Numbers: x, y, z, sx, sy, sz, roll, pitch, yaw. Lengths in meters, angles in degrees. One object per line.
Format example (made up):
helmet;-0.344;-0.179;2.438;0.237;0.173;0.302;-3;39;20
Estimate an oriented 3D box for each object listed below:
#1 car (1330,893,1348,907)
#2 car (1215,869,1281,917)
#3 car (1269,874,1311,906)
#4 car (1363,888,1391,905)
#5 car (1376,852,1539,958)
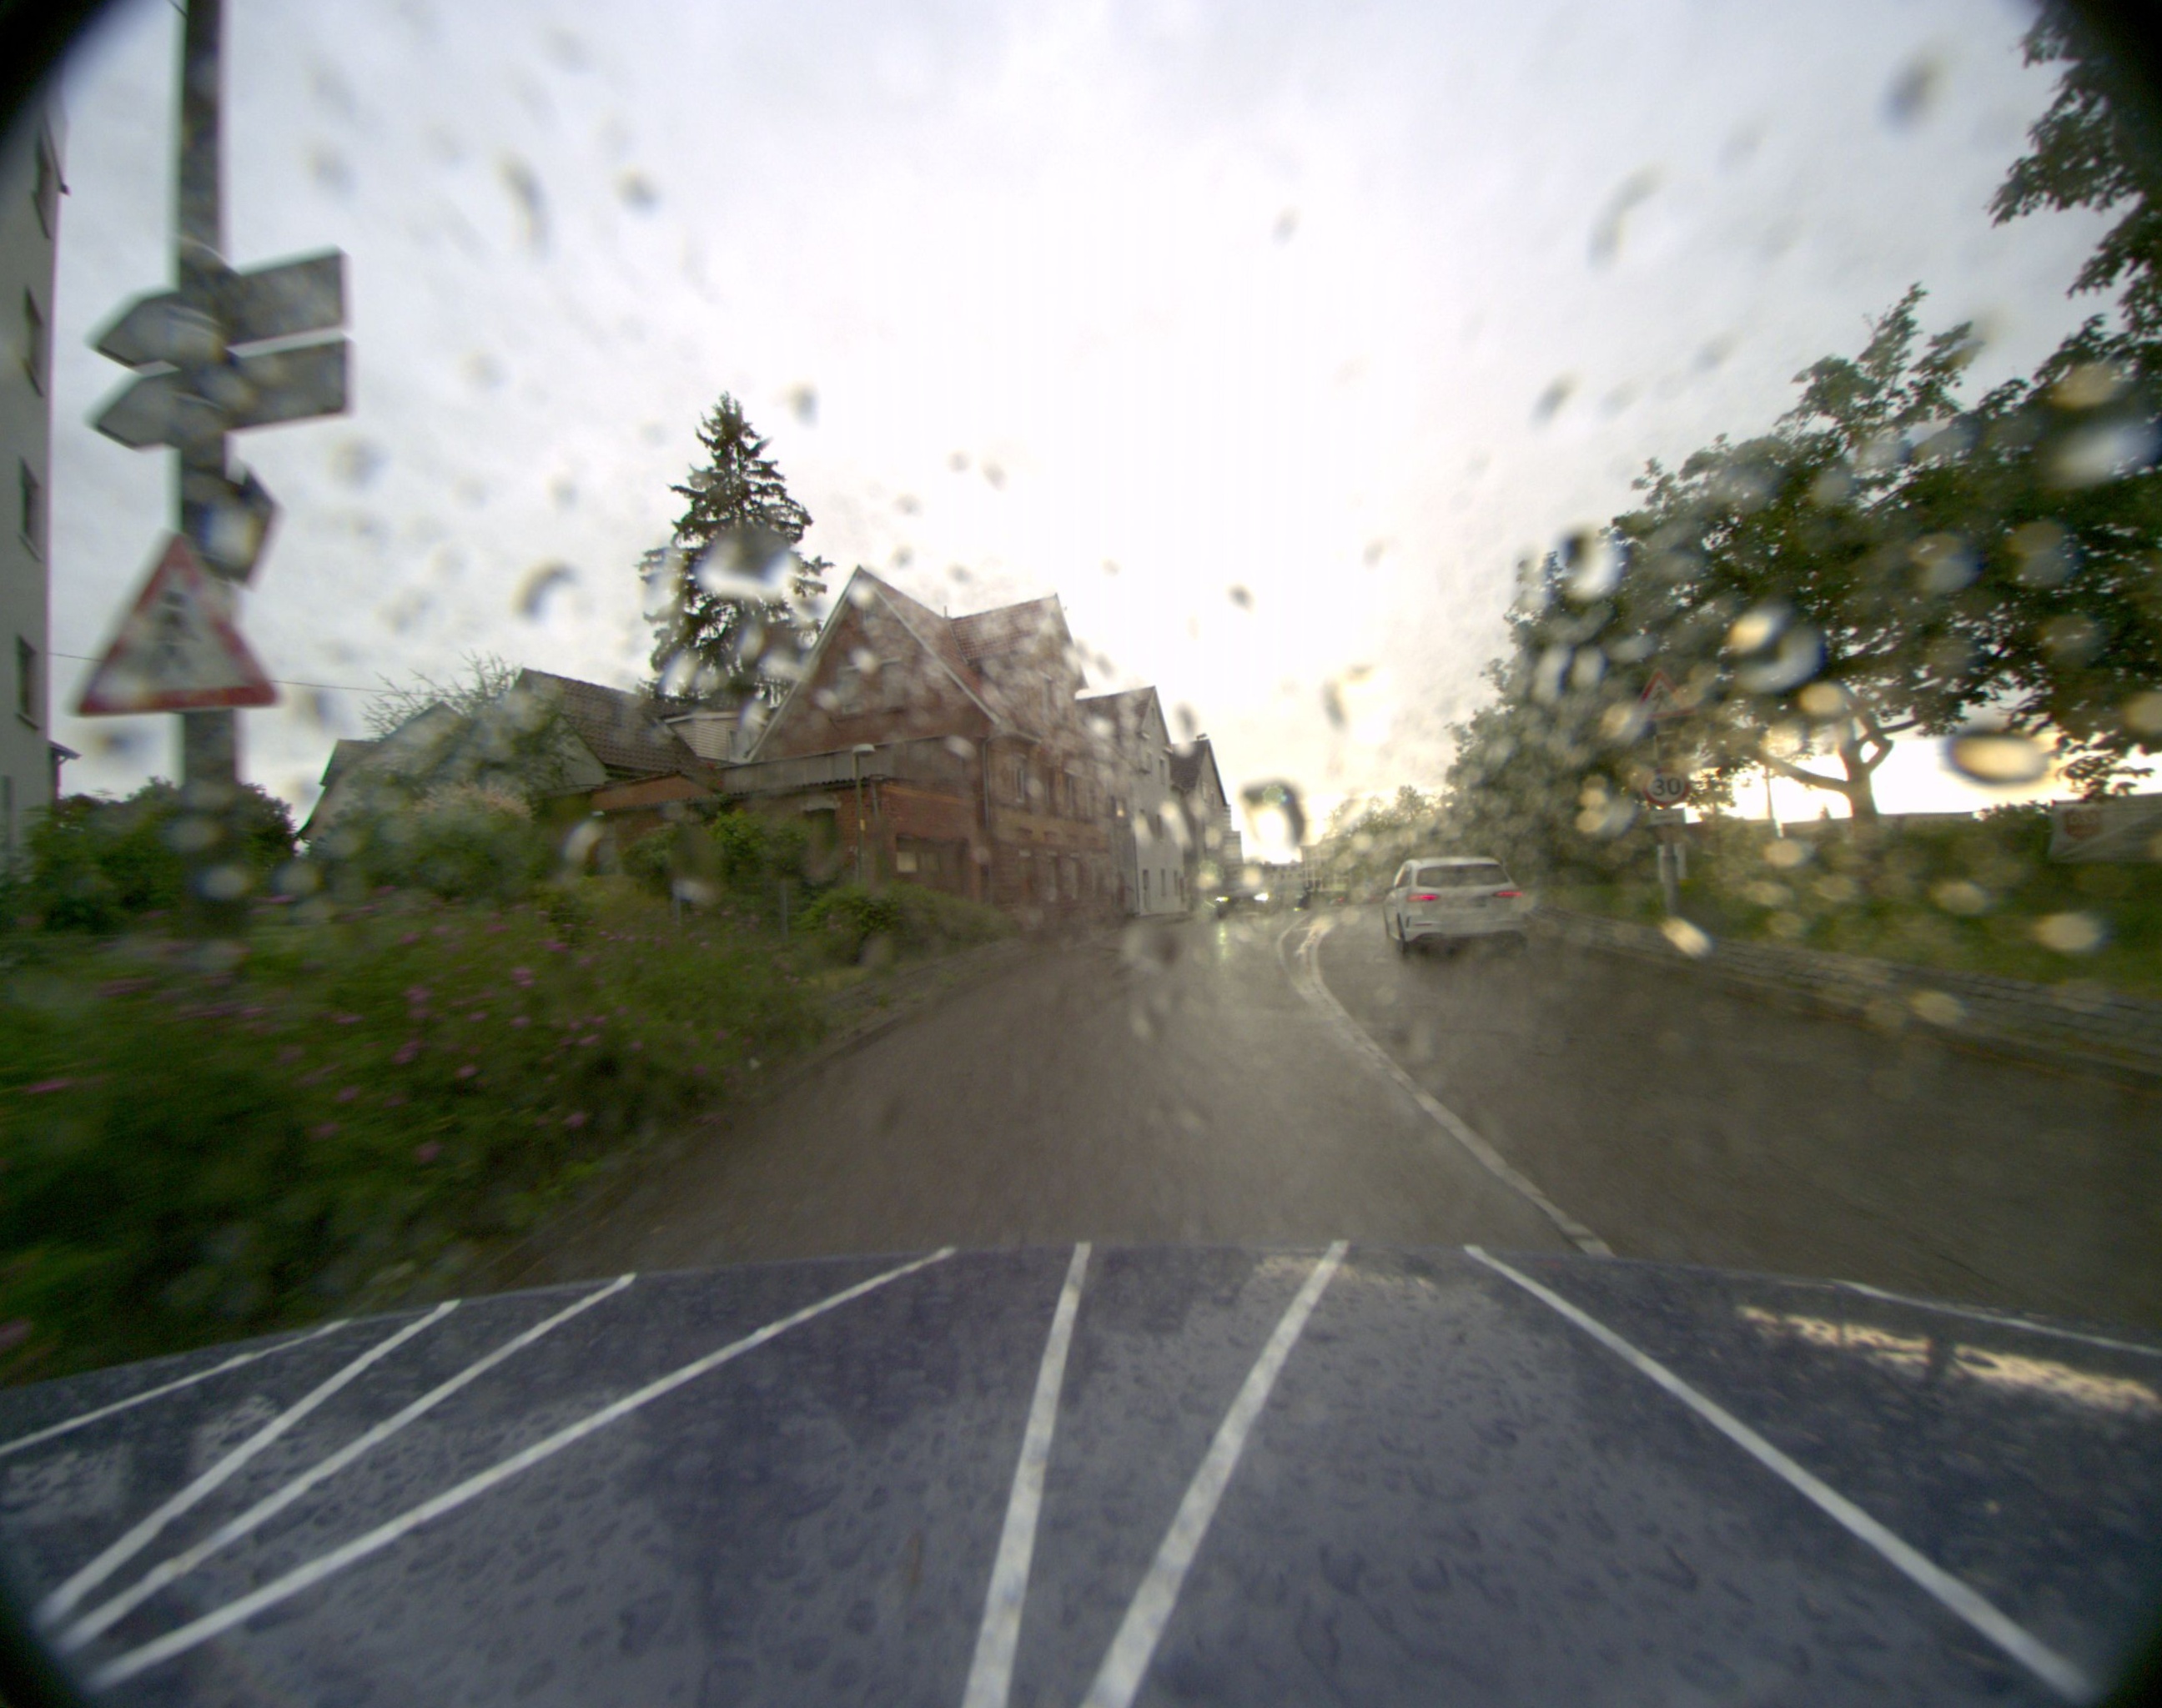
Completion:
car;32.595;5.821;96.104;1.646;1.541;4.162;-7;-5;14
car;6.438;1.484;28.868;1.836;1.504;4.857;-6;-4;18
car;10.405;1.848;37.852;1.788;1.338;4.954;-5;-6;15
car;28.622;4.081;73.543;1.643;1.511;4.076;-4;-4;10
car;6.271;0.781;13.161;1.726;1.496;4.264;-3;-1;16
